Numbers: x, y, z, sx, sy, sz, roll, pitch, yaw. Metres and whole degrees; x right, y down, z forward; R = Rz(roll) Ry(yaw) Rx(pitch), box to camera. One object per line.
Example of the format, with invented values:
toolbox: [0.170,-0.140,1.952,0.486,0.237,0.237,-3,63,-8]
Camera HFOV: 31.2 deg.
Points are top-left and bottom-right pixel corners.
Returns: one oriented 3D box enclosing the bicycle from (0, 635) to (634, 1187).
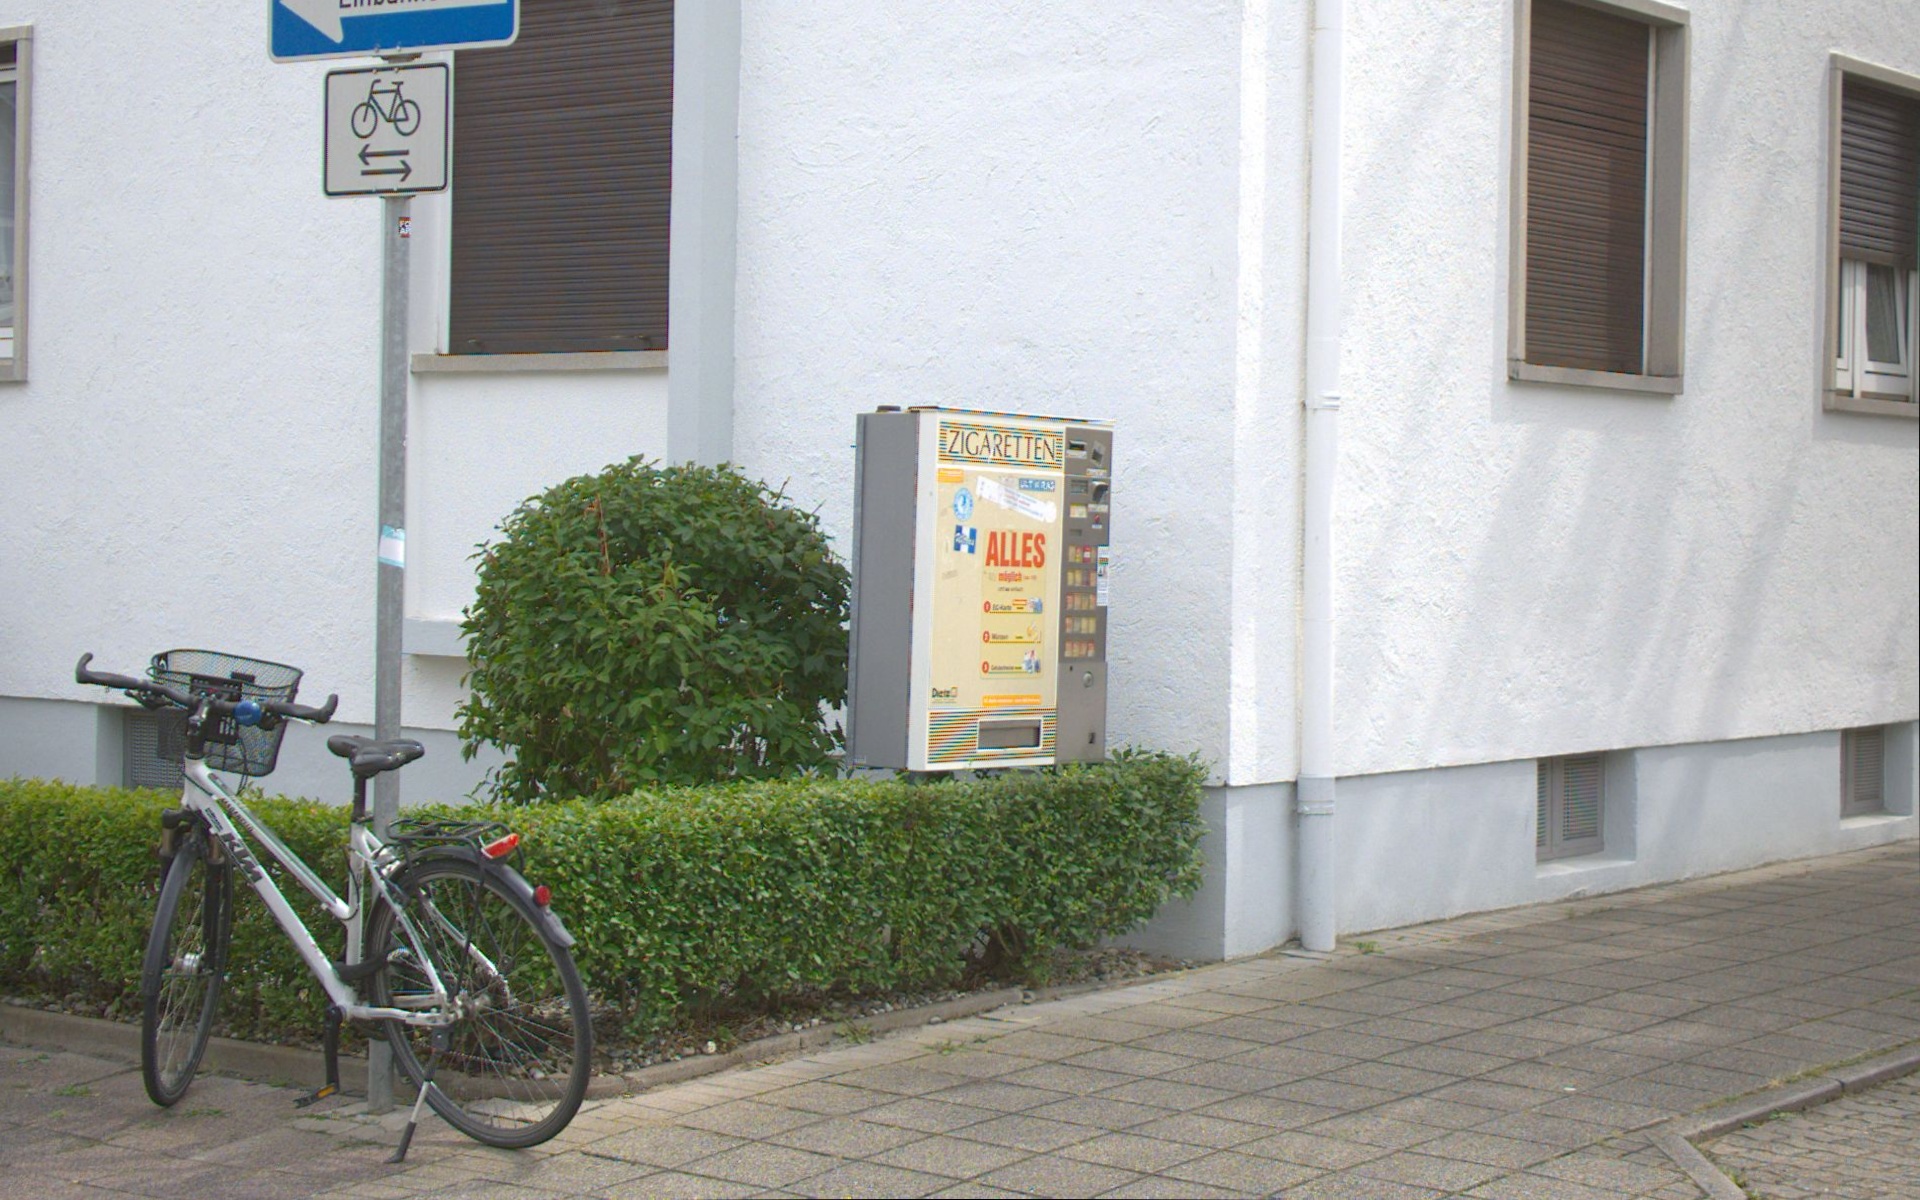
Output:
bicycle: [-1.542,0.676,8.036,1.636,1.175,0.434,0,0,33]
